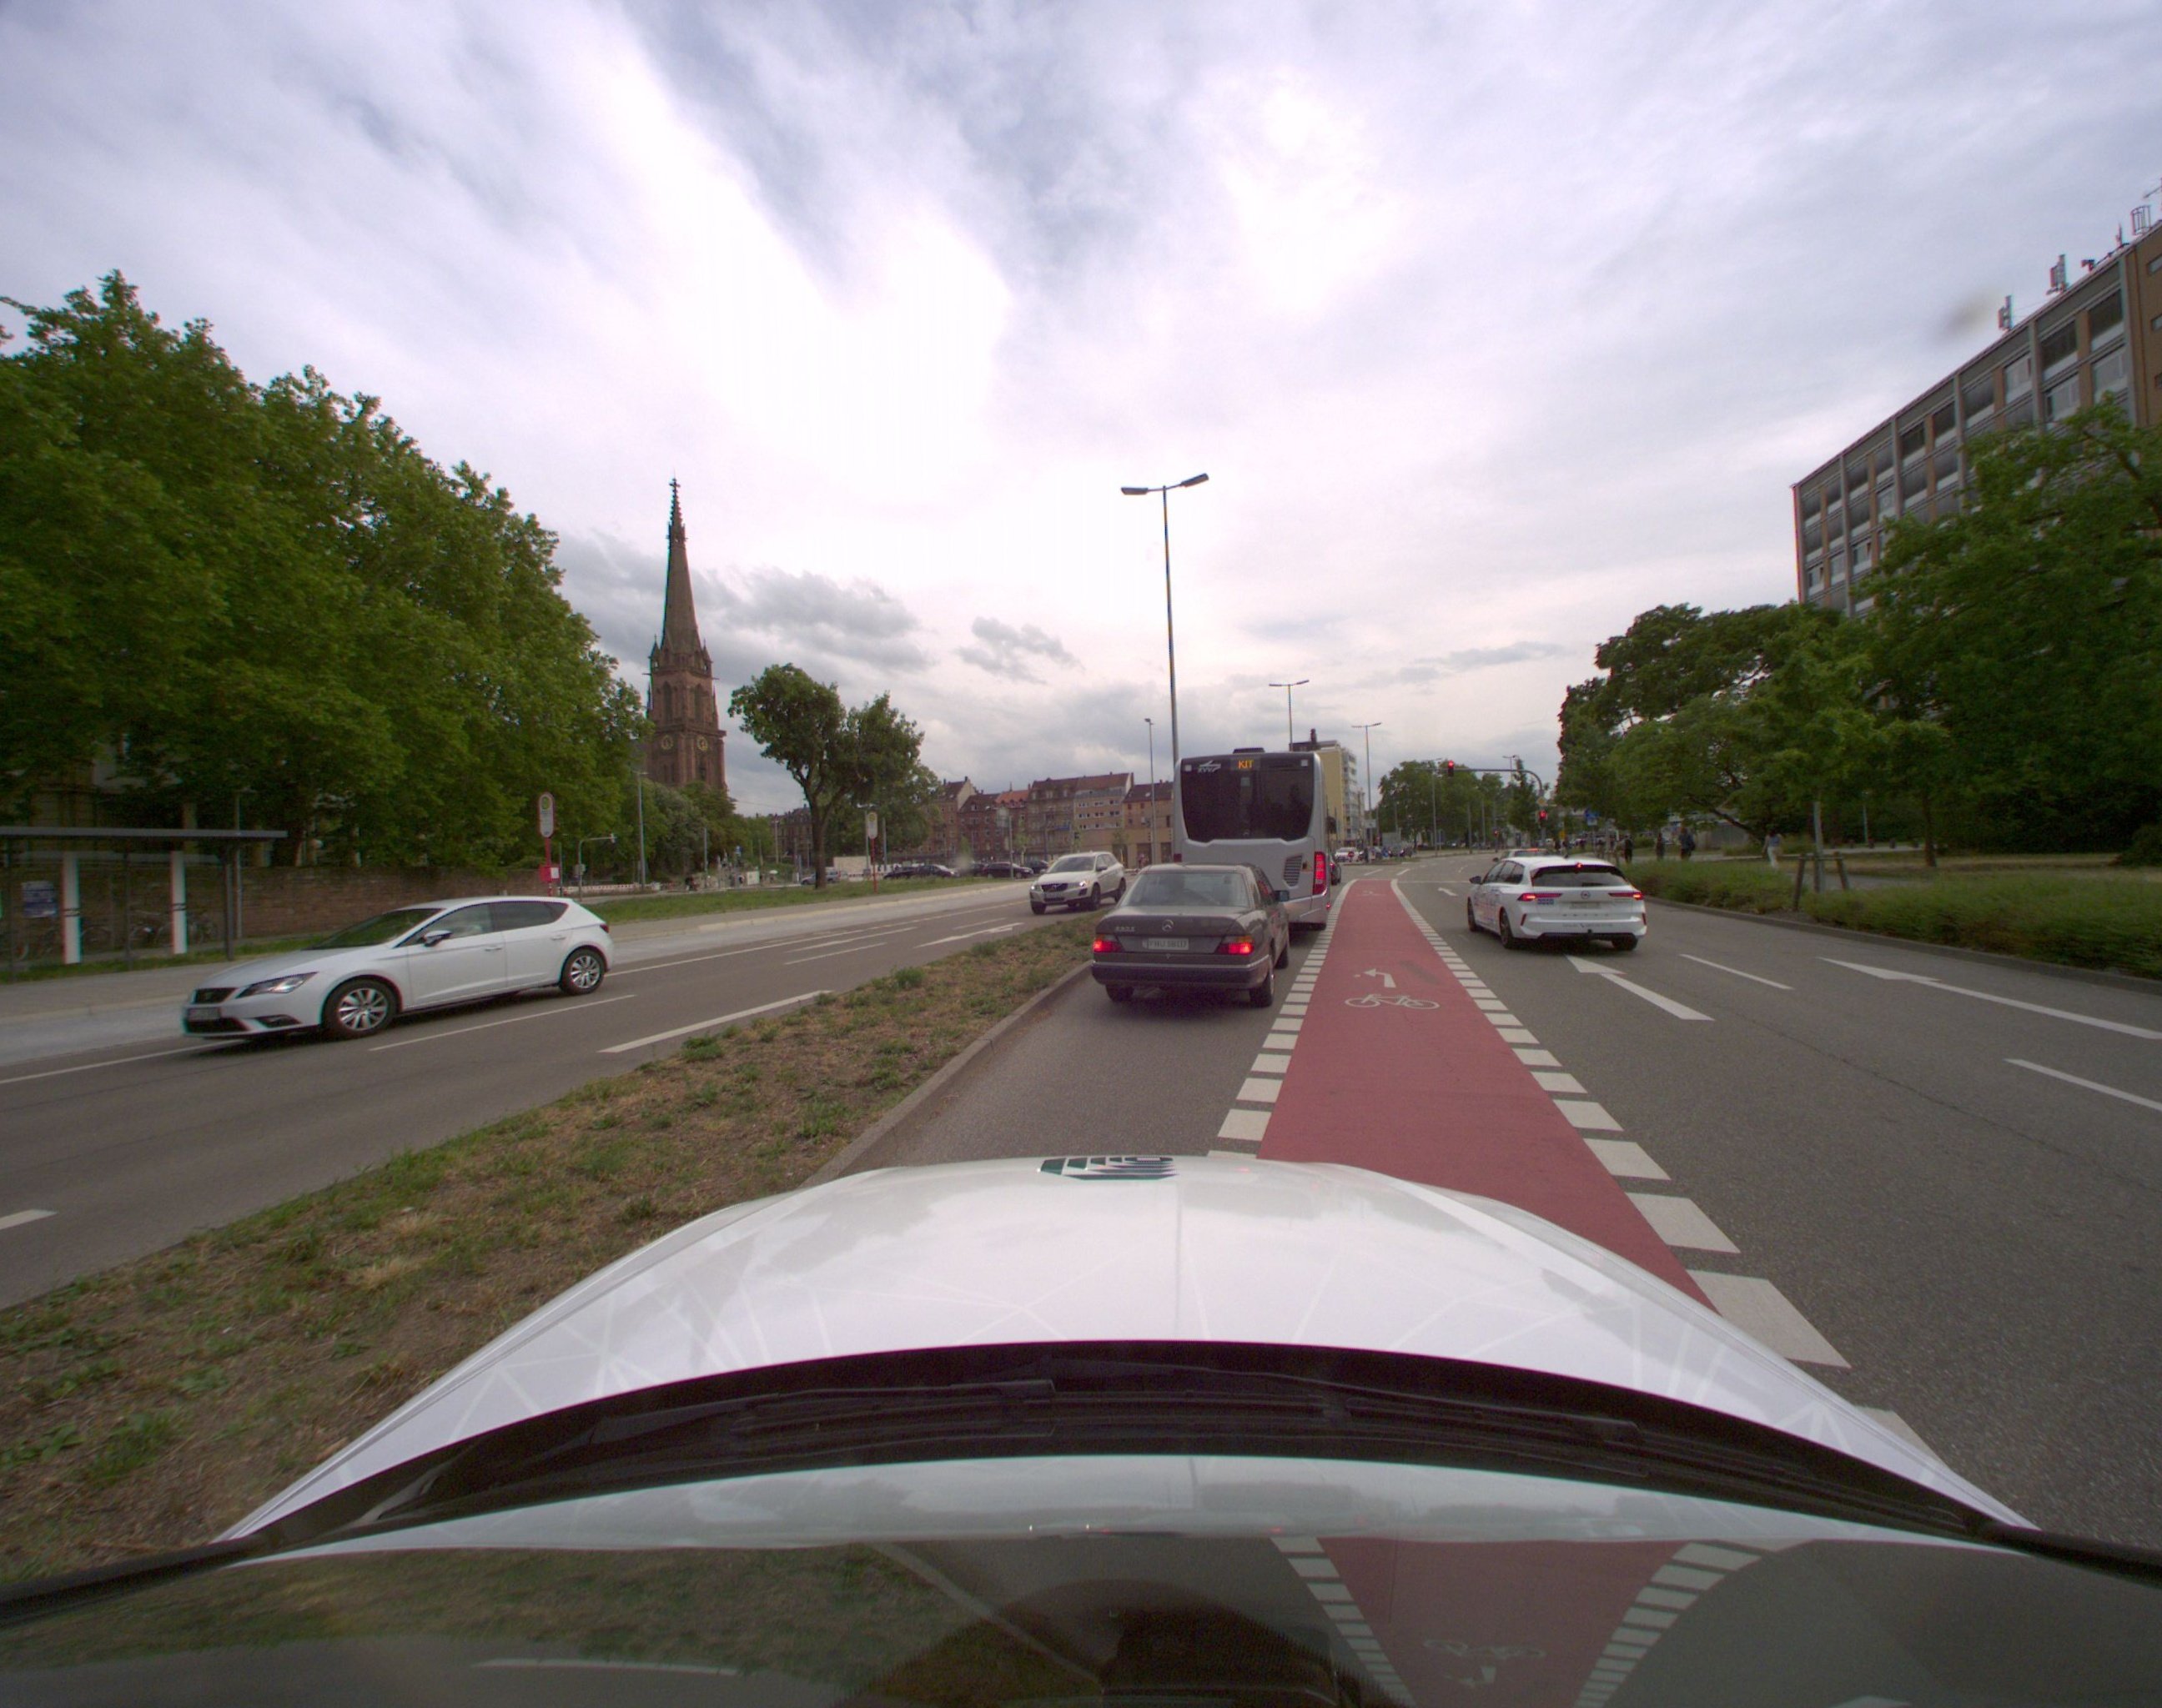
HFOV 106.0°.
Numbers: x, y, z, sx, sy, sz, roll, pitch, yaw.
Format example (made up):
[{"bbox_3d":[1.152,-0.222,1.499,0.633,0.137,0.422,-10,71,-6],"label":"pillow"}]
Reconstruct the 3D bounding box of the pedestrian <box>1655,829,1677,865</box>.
[{"bbox_3d":[29.362,-0.354,40.870,0.794,1.713,0.770,-3,-1,31],"label":"pedestrian"}]

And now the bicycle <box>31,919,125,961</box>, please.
[{"bbox_3d":[-25.669,2.184,20.881,0.480,0.907,1.617,0,0,-5],"label":"bicycle"}]

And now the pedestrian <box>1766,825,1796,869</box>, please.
[{"bbox_3d":[23.563,-0.235,27.433,0.650,1.470,0.565,-3,-1,35],"label":"pedestrian"}]

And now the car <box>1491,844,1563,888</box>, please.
[{"bbox_3d":[16.114,0.395,29.575,1.710,1.457,3.755,-2,0,20],"label":"car"}]

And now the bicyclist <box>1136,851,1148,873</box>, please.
[{"bbox_3d":[4.667,0.640,62.331,0.780,1.643,0.616,-3,0,16],"label":"bicyclist"}]

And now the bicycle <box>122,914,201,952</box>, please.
[{"bbox_3d":[-25.784,2.192,22.883,0.480,0.907,1.617,0,0,-5],"label":"bicycle"}]

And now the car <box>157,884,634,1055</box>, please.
[{"bbox_3d":[-8.054,1.258,10.153,1.683,1.443,4.196,-5,-1,19],"label":"car"}]

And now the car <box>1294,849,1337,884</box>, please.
[{"bbox_3d":[10.178,0.505,35.370,1.642,1.396,3.877,-2,0,16],"label":"car"}]

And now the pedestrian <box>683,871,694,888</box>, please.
[{"bbox_3d":[-38.387,2.514,79.704,0.557,1.560,0.729,-3,2,13],"label":"pedestrian"}]

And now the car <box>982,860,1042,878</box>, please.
[{"bbox_3d":[-5.747,1.238,67.799,4.636,1.475,1.667,-1,0,13],"label":"car"}]

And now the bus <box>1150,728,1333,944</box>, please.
[{"bbox_3d":[3.770,-0.287,17.148,2.809,3.390,8.220,-2,0,17],"label":"bus"}]

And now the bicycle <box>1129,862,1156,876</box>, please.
[{"bbox_3d":[4.722,1.155,62.317,1.949,0.982,0.633,-3,0,16],"label":"bicycle"}]

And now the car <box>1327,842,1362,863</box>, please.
[{"bbox_3d":[29.384,-0.176,90.674,2.558,2.109,5.636,-3,0,29],"label":"car"}]

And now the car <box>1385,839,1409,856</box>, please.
[{"bbox_3d":[42.244,-0.868,108.836,1.974,2.013,4.026,-3,0,35],"label":"car"}]

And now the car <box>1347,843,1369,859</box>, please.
[{"bbox_3d":[33.540,-0.382,98.498,1.790,1.850,4.024,-3,0,27],"label":"car"}]

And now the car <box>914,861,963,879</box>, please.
[{"bbox_3d":[-12.161,1.367,69.362,3.736,1.394,1.590,-1,0,13],"label":"car"}]

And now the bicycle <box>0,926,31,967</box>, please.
[{"bbox_3d":[-25.364,2.172,18.708,0.480,0.907,1.617,0,0,-5],"label":"bicycle"}]

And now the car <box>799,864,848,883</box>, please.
[{"bbox_3d":[-24.620,1.885,78.036,4.125,1.649,1.653,-3,0,12],"label":"car"}]

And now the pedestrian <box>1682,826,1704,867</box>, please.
[{"bbox_3d":[25.758,-0.310,34.272,0.640,1.713,0.565,-3,-1,33],"label":"pedestrian"}]

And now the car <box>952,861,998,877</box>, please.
[{"bbox_3d":[-9.538,1.324,73.239,3.736,1.394,1.590,-1,0,13],"label":"car"}]

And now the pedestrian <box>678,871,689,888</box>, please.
[{"bbox_3d":[-39.206,2.532,80.355,0.557,1.560,0.729,-3,2,13],"label":"pedestrian"}]

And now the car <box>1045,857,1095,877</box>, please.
[{"bbox_3d":[-0.885,1.084,66.855,3.829,1.517,1.667,-1,0,13],"label":"car"}]

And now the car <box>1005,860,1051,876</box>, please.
[{"bbox_3d":[-4.697,1.226,72.219,3.736,1.394,1.590,-1,0,13],"label":"car"}]

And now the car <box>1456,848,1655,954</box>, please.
[{"bbox_3d":[7.671,0.657,13.700,1.726,1.439,4.803,-2,0,16],"label":"car"}]

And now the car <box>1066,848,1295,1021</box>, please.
[{"bbox_3d":[1.378,0.722,9.336,1.747,1.489,4.191,-2,0,18],"label":"car"}]

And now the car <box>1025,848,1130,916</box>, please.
[{"bbox_3d":[0.021,0.755,24.130,1.767,1.730,4.393,-3,0,17],"label":"car"}]

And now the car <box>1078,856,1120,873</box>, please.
[{"bbox_3d":[1.554,0.895,71.408,3.660,1.394,1.585,-1,0,0],"label":"car"}]
